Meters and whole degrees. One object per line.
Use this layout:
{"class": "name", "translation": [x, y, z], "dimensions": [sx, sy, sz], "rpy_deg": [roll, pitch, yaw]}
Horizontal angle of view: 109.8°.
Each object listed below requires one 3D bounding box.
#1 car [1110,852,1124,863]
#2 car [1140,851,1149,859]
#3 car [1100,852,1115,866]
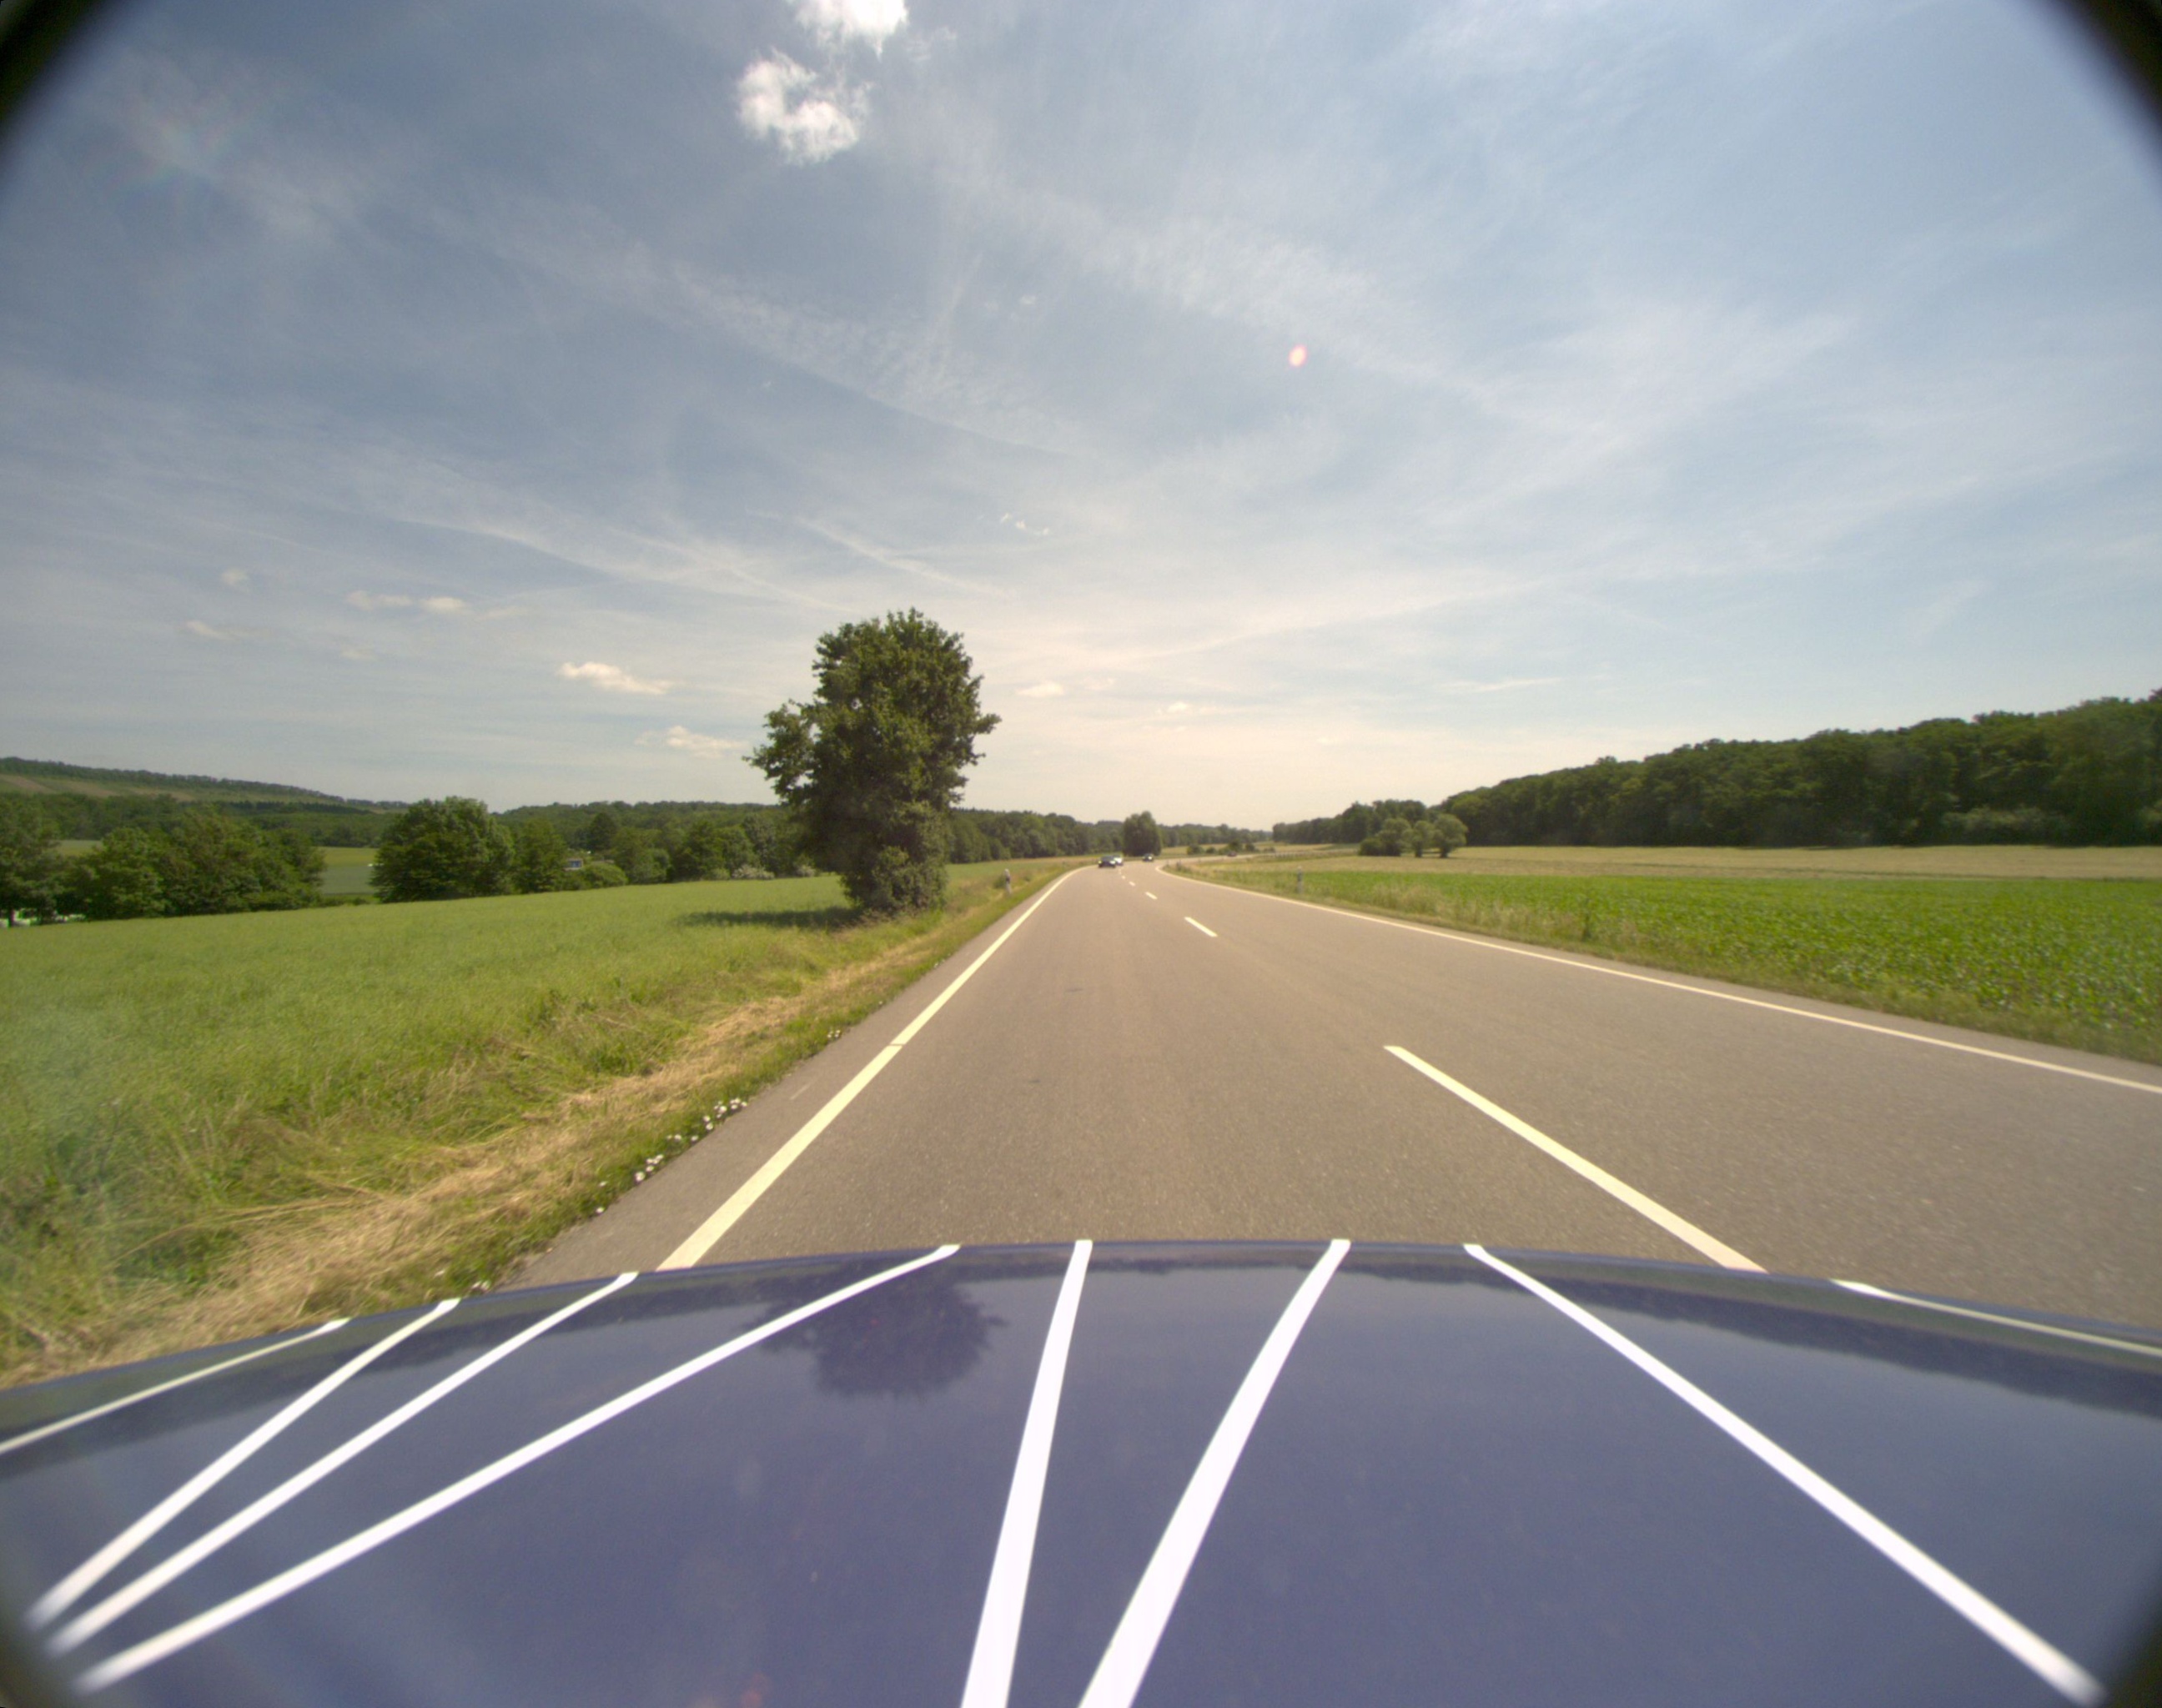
{"class": "car", "translation": [4.891, 0.480, 102.537], "dimensions": [1.621, 1.428, 3.444], "rpy_deg": [1, 0, 6]}
{"class": "car", "translation": [12.096, 0.226, 143.905], "dimensions": [1.621, 1.429, 3.443], "rpy_deg": [0, 2, 6]}
{"class": "car", "translation": [2.976, 0.537, 84.140], "dimensions": [1.621, 1.428, 3.443], "rpy_deg": [1, 1, 3]}
